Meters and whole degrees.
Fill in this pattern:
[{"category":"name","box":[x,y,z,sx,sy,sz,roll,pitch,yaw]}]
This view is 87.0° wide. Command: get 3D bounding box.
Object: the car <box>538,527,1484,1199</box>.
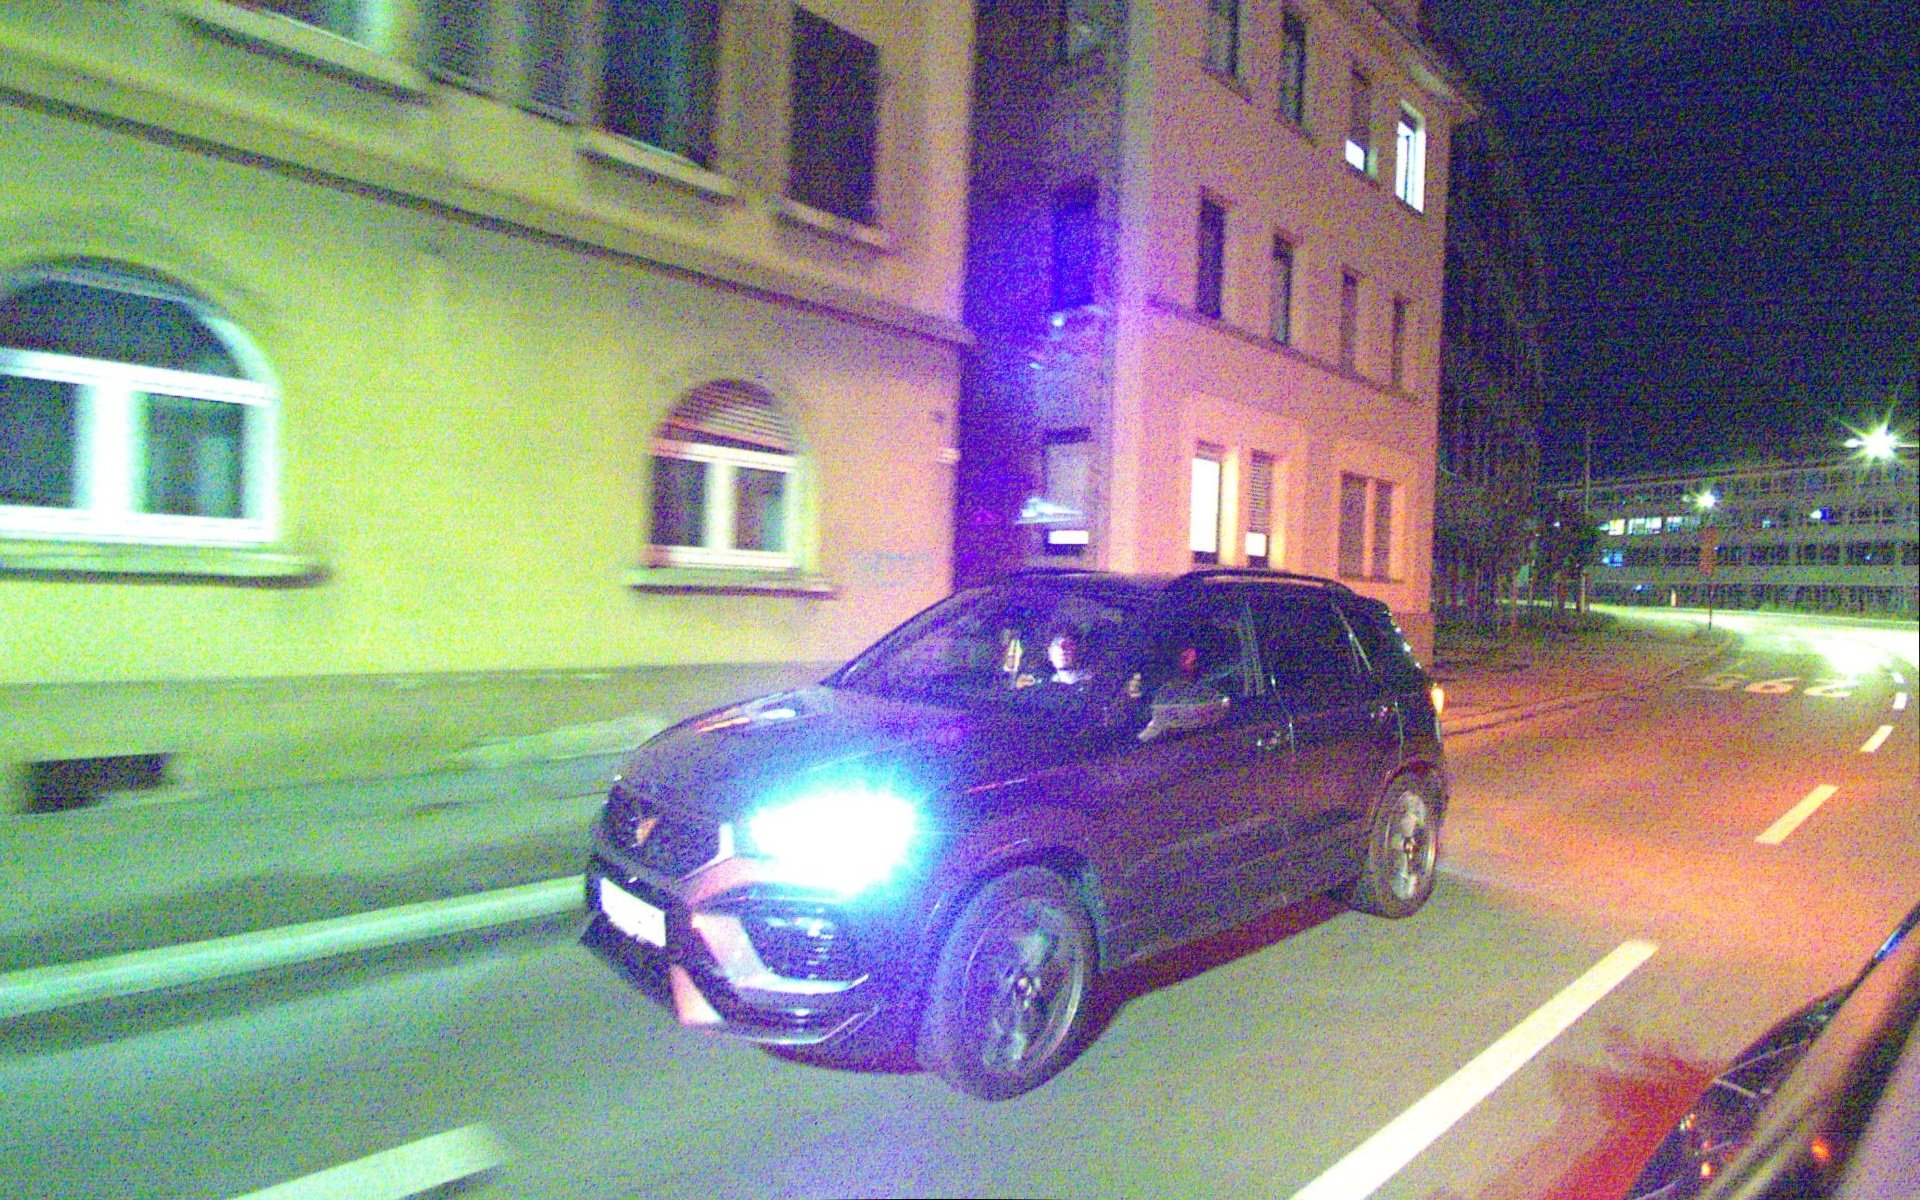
[{"category":"car","box":[0.575,0.594,4.406,4.157,1.630,1.673,-1,2,-42]}]
